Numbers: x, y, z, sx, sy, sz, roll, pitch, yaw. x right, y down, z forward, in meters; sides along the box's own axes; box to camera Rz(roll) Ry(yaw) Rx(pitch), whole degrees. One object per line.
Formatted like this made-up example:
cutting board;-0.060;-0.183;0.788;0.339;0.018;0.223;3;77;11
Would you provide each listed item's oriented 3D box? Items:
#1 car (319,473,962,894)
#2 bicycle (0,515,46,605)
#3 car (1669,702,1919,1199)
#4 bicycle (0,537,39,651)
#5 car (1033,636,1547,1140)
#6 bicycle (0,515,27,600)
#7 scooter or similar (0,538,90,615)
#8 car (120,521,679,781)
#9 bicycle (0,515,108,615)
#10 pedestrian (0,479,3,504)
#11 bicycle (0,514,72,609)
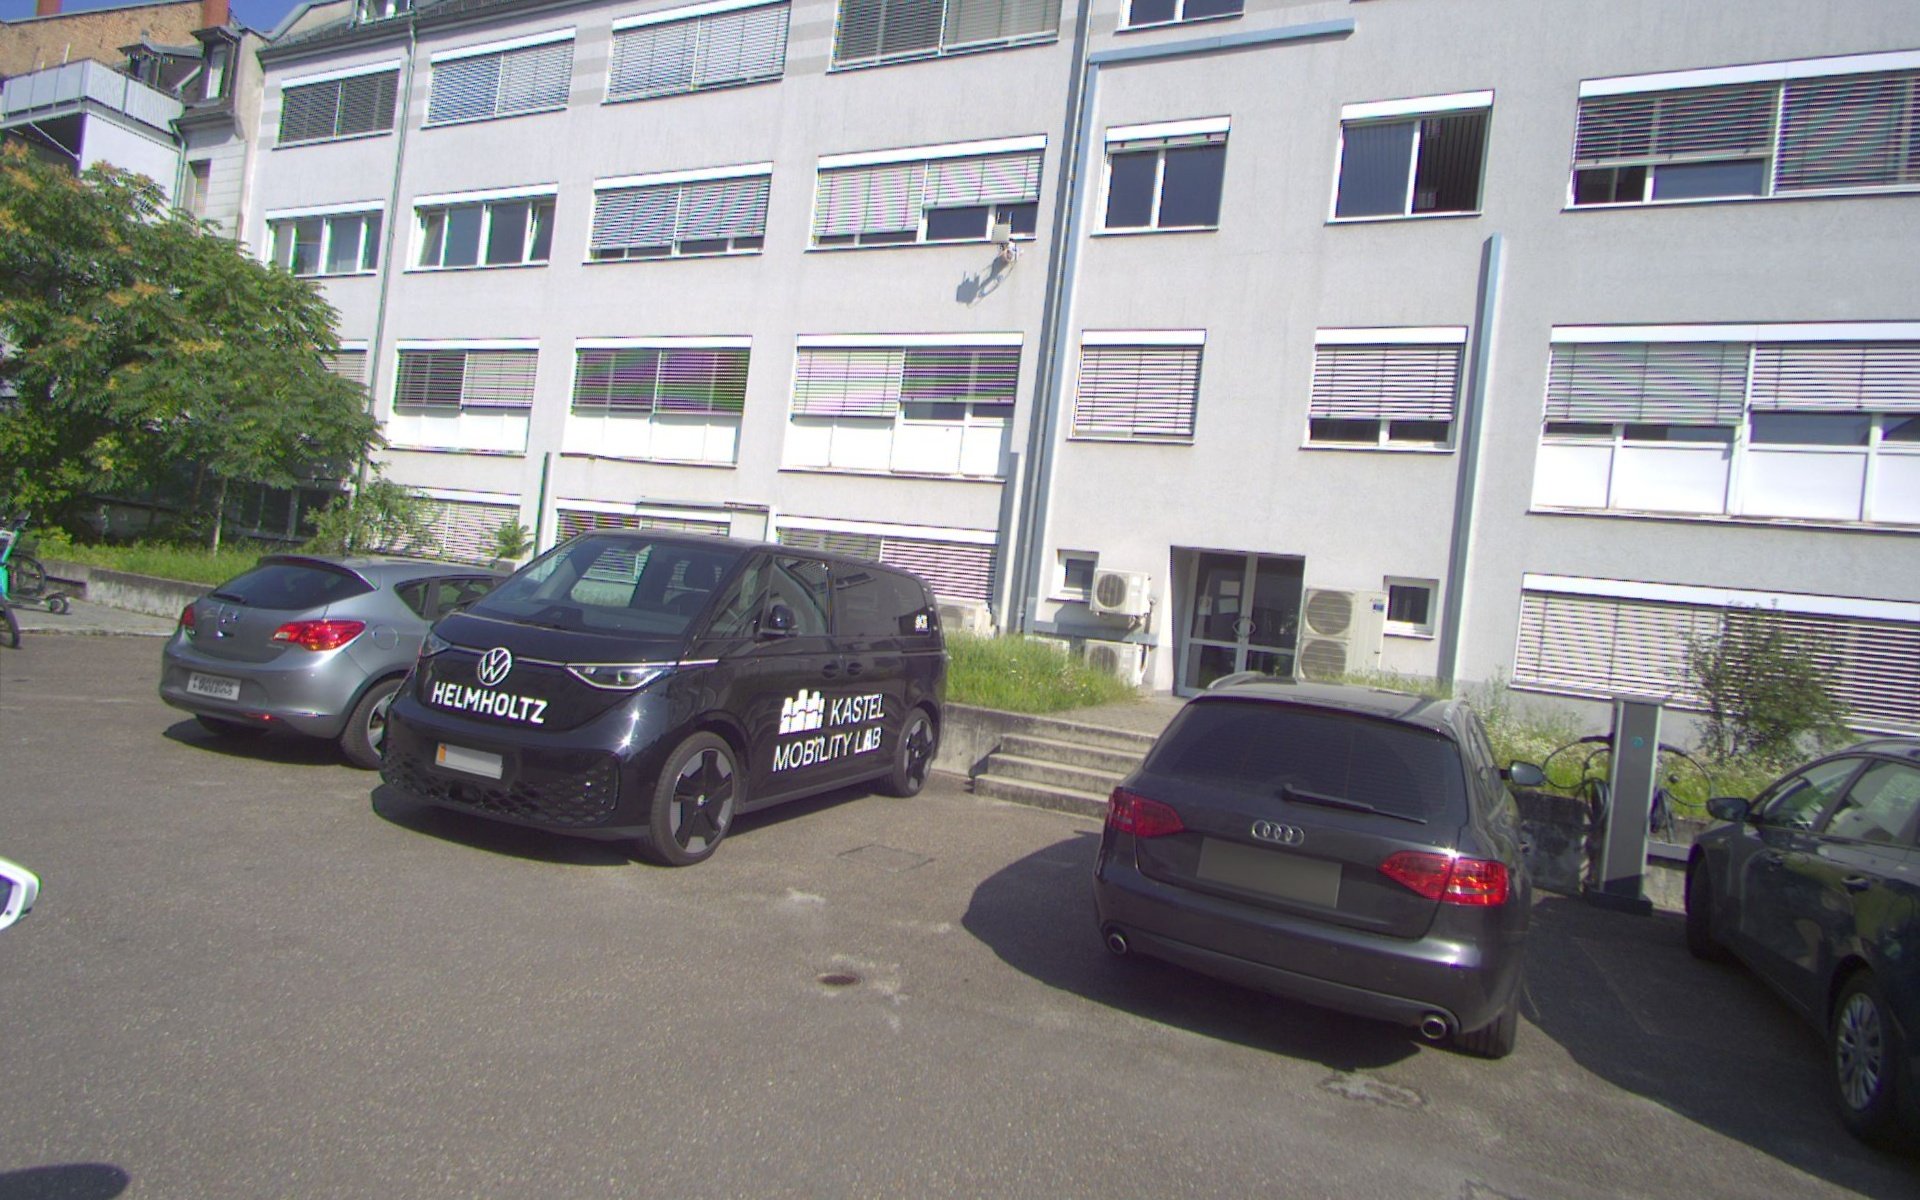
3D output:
car;-1.722;0.490;7.125;1.879;1.881;4.350;7;-1;21
bicycle;-14.604;-0.695;14.178;0.517;1.260;2.416;7;-2;30
car;4.610;1.353;4.360;1.711;1.495;4.058;7;-1;26
bicycle;-10.880;-0.147;11.014;1.959;1.158;0.489;7;1;29
car;2.104;1.116;5.536;1.661;1.454;4.242;7;-1;29
bicycle;-15.146;-0.766;14.445;0.517;1.260;2.416;7;-2;30
scooter or similar;-12.765;-0.322;13.921;0.982;0.935;0.360;7;-1;-7
car;-4.218;0.409;8.380;1.631;1.483;3.911;7;-1;17
bicycle;-13.254;-0.546;13.674;0.517;1.260;2.416;7;-2;30
pedestrian;-10.995;-0.498;10.717;0.600;1.792;0.860;7;-1;28
bicycle;-13.907;-0.637;13.822;0.517;1.260;2.416;7;-2;30
